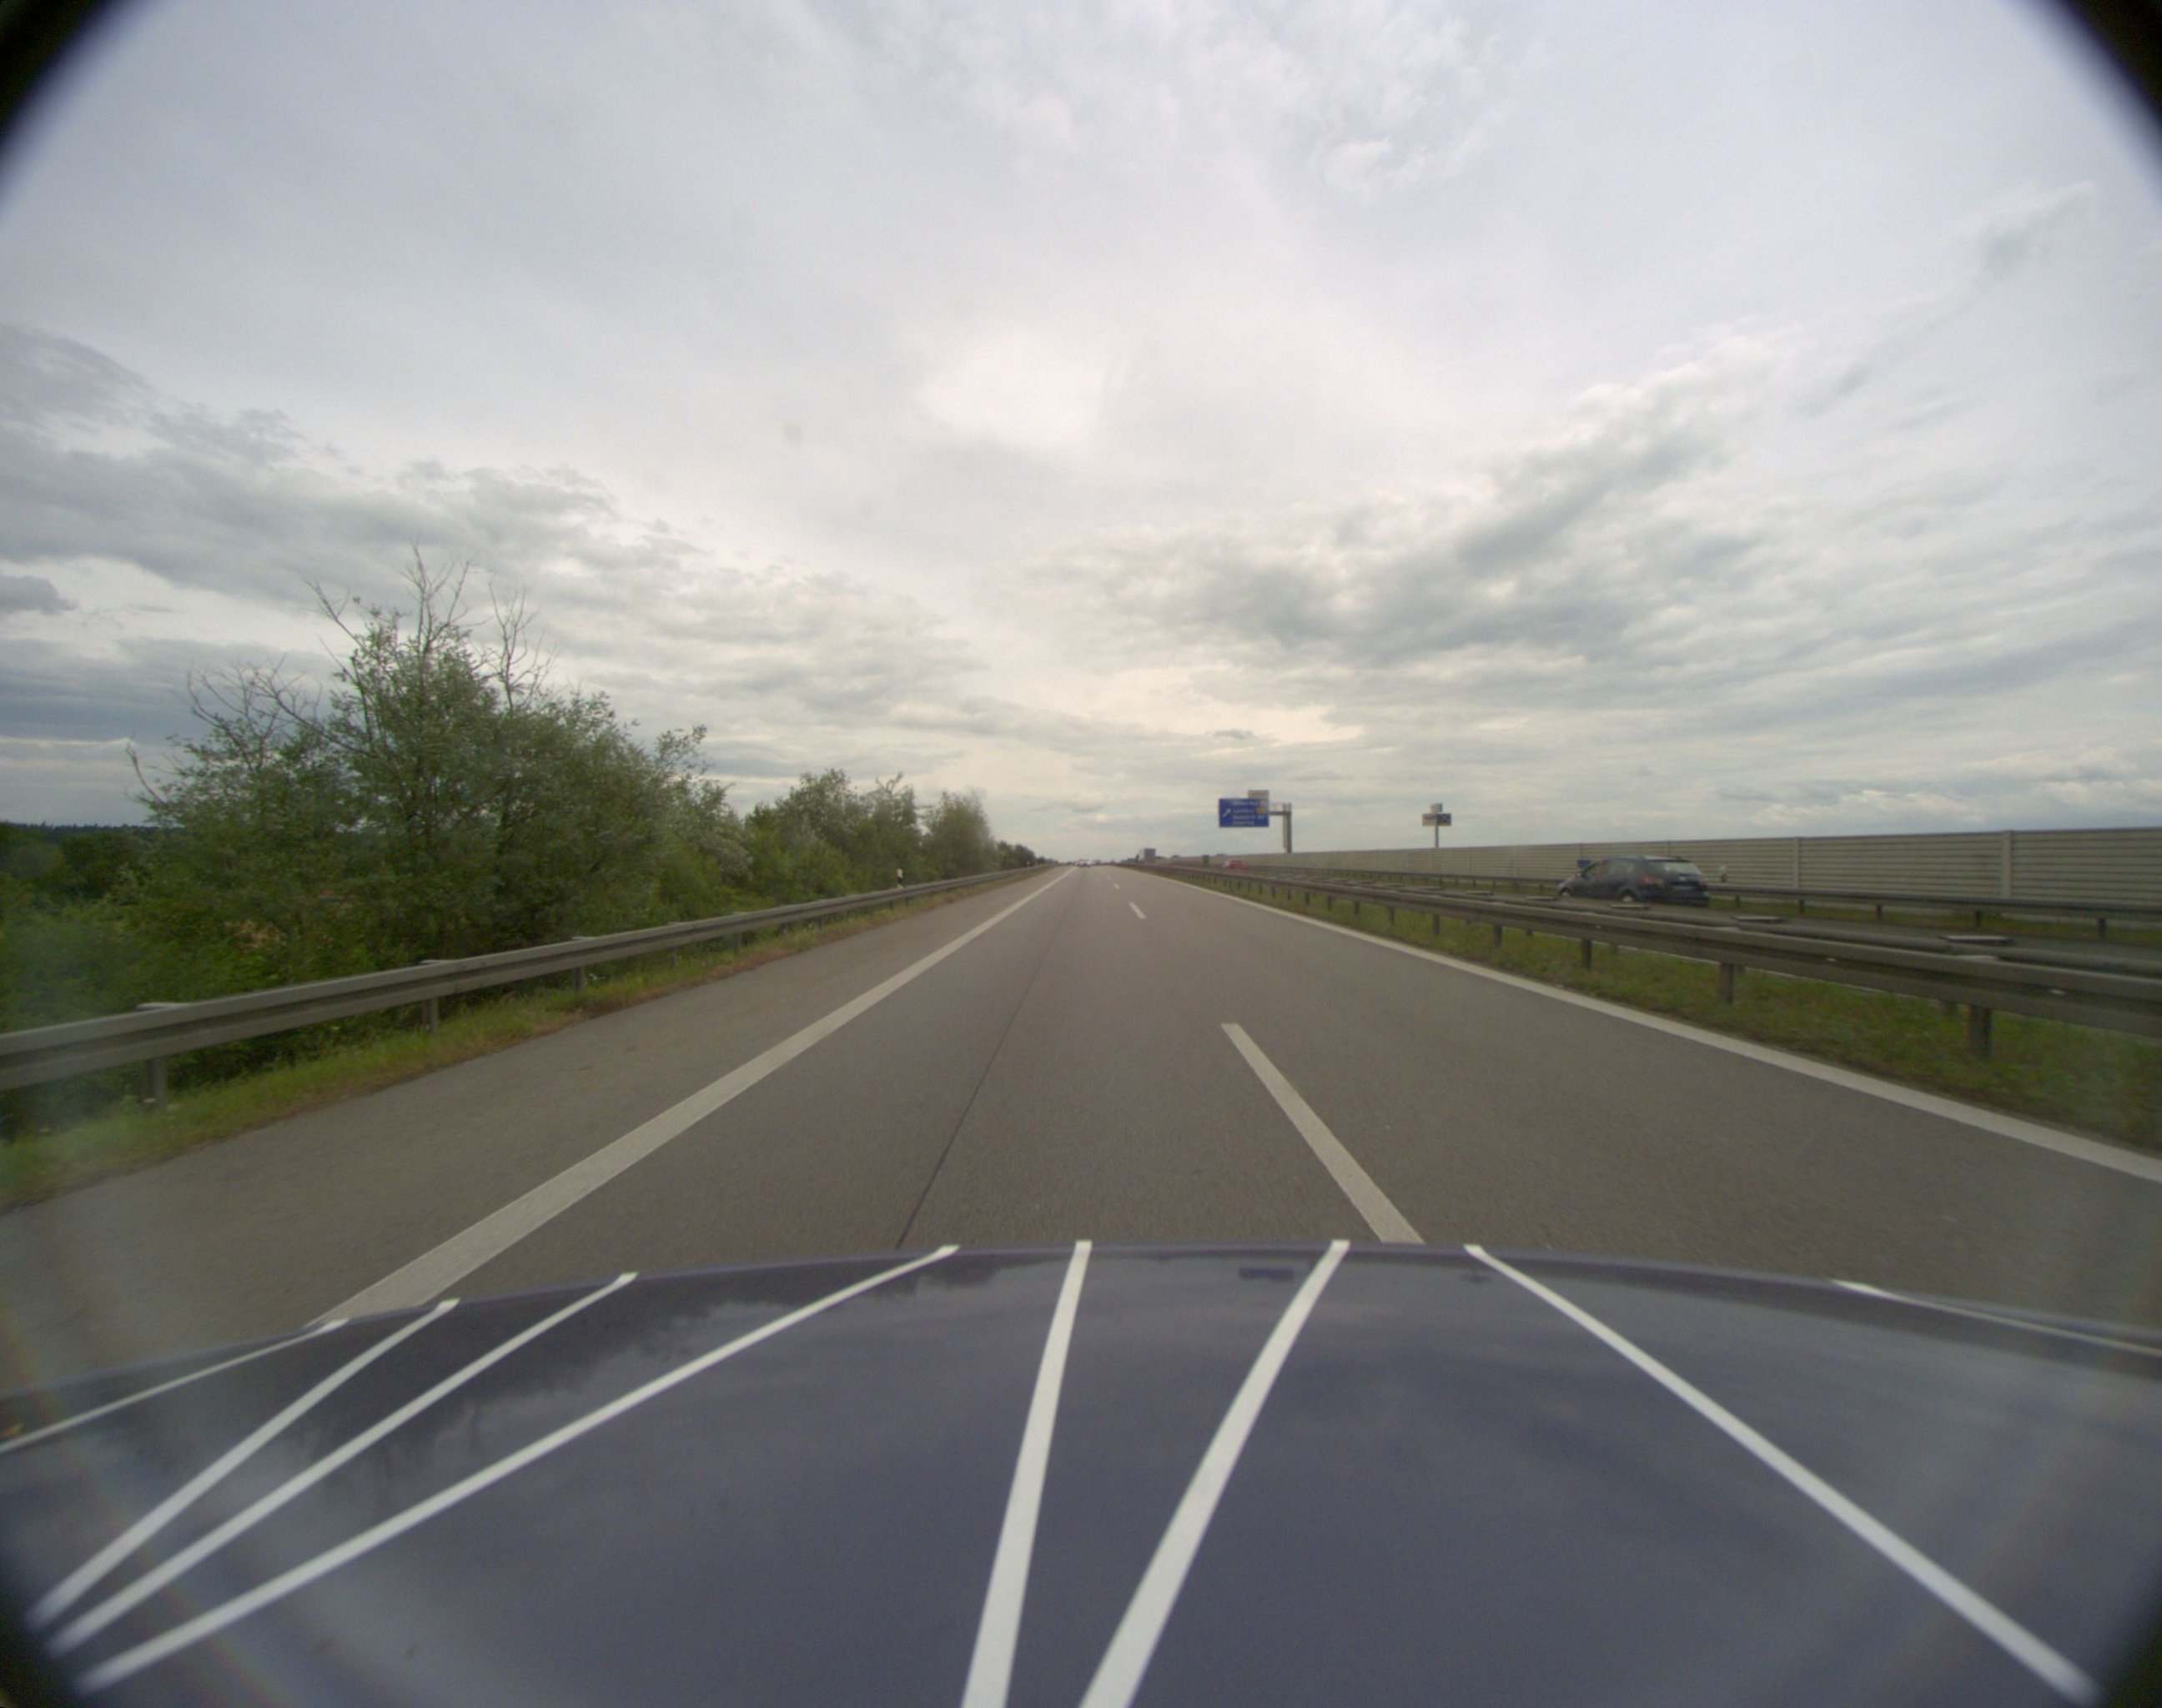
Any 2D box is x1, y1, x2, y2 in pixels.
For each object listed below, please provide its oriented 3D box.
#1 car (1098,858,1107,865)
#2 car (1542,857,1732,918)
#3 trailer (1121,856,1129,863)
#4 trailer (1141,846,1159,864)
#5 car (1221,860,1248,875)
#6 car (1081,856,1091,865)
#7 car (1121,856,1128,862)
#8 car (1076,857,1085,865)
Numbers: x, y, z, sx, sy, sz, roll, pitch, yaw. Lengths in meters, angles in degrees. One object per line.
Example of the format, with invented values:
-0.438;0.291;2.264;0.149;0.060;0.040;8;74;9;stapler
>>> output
5.012;1.790;178.095;1.850;1.664;4.200;0;-1;0;car
14.513;0.802;20.224;1.662;1.321;4.609;3;0;1;car
12.813;1.488;220.275;1.819;1.836;3.863;-6;0;0;trailer
16.372;0.198;180.894;3.187;4.052;14.023;1;0;0;trailer
15.232;1.287;75.525;1.822;1.395;4.876;0;0;1;car
0.914;1.243;139.763;1.850;1.664;4.200;0;-1;0;car
12.816;1.474;224.296;1.819;1.836;4.180;-6;0;0;car
-0.088;1.687;178.631;1.851;1.849;4.000;0;-1;-3;car
